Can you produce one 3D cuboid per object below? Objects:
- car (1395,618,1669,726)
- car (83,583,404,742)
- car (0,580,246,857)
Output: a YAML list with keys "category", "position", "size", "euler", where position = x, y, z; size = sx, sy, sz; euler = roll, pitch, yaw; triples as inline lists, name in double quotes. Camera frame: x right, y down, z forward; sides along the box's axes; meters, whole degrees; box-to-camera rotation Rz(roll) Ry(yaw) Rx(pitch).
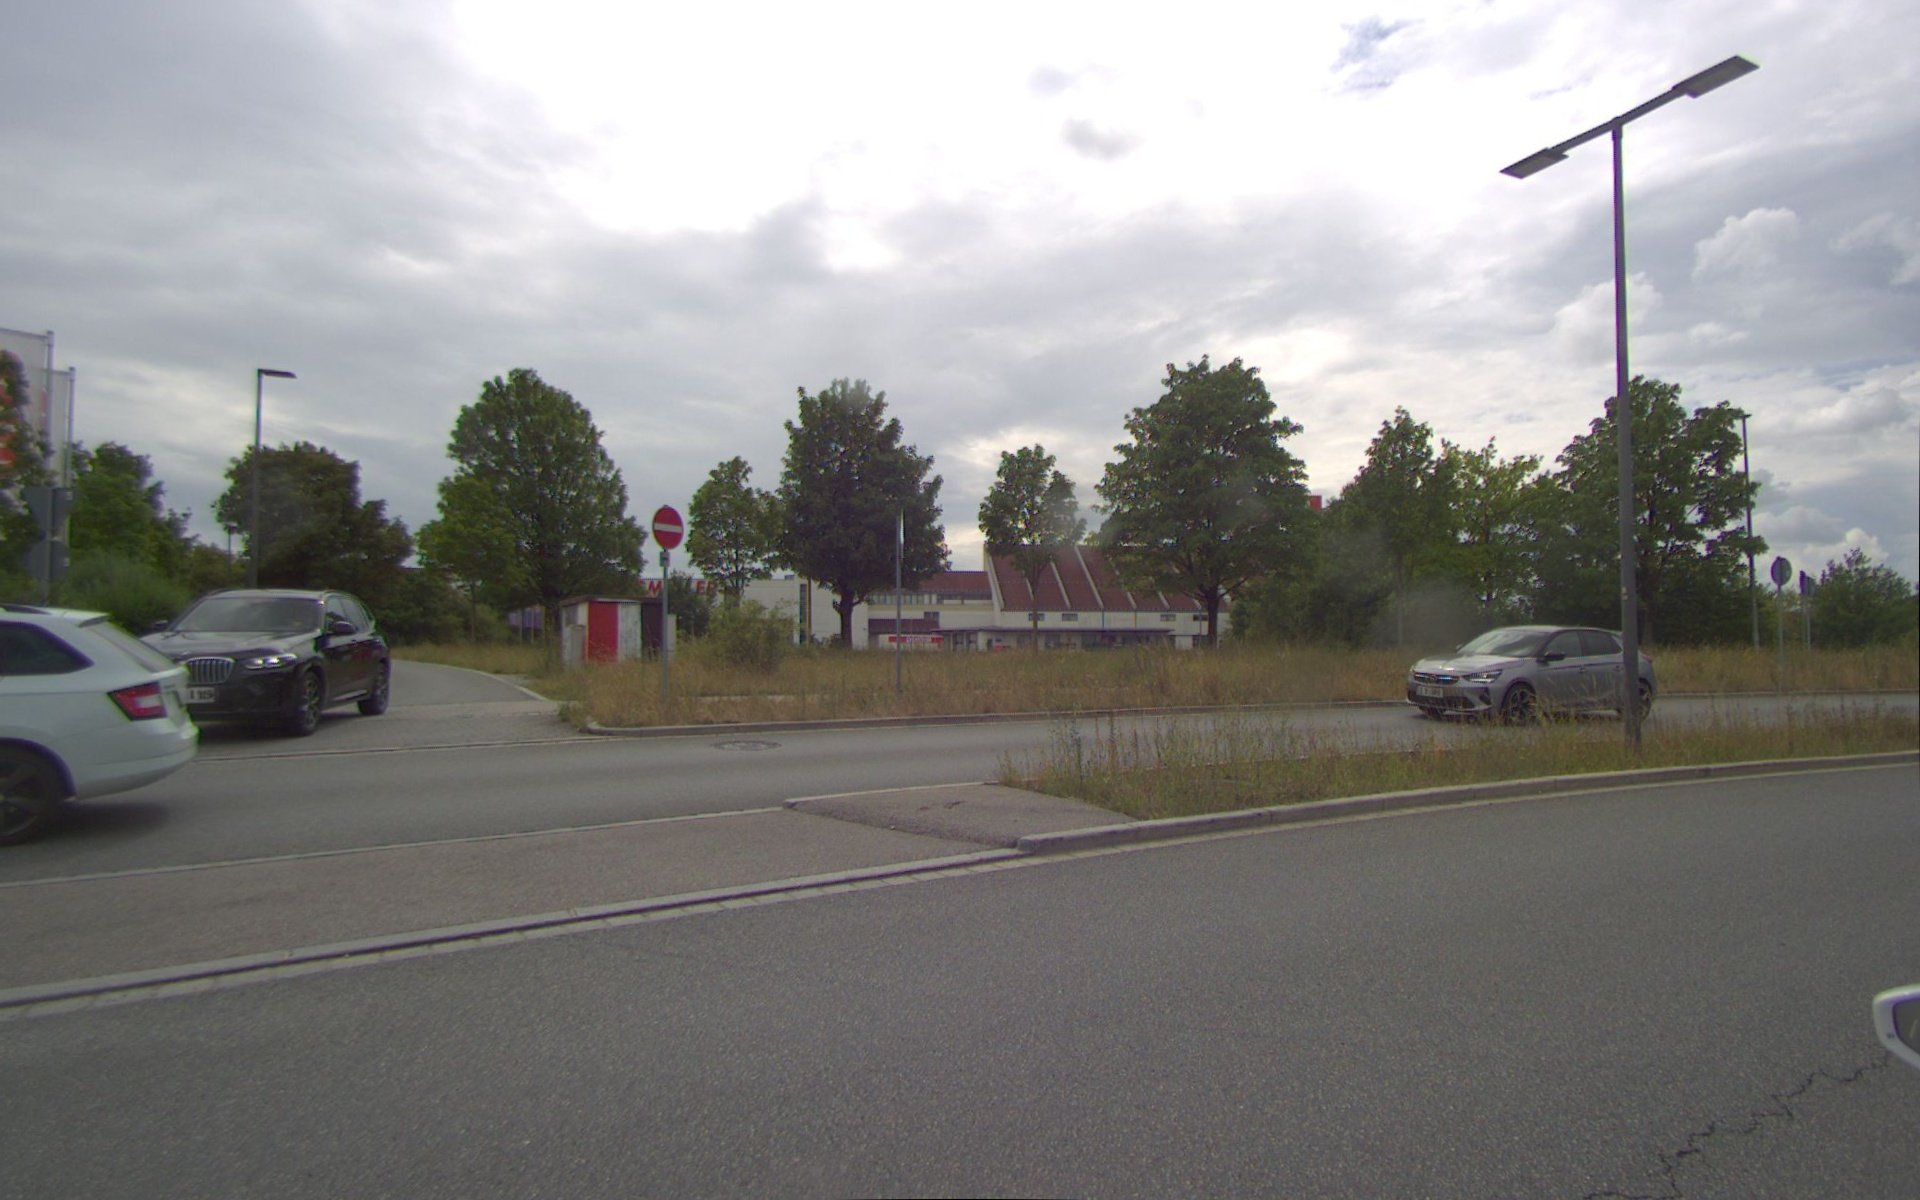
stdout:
- category: "car"
  position: [8.814, 1.080, 15.477]
  size: [4.034, 1.505, 1.457]
  euler: [2, -2, -21]
- category: "car"
  position: [-8.337, 0.692, 12.212]
  size: [1.843, 1.570, 4.241]
  euler: [1, -2, -17]
- category: "car"
  position: [-7.036, 0.682, 6.197]
  size: [4.225, 1.656, 1.703]
  euler: [2, 0, -35]
